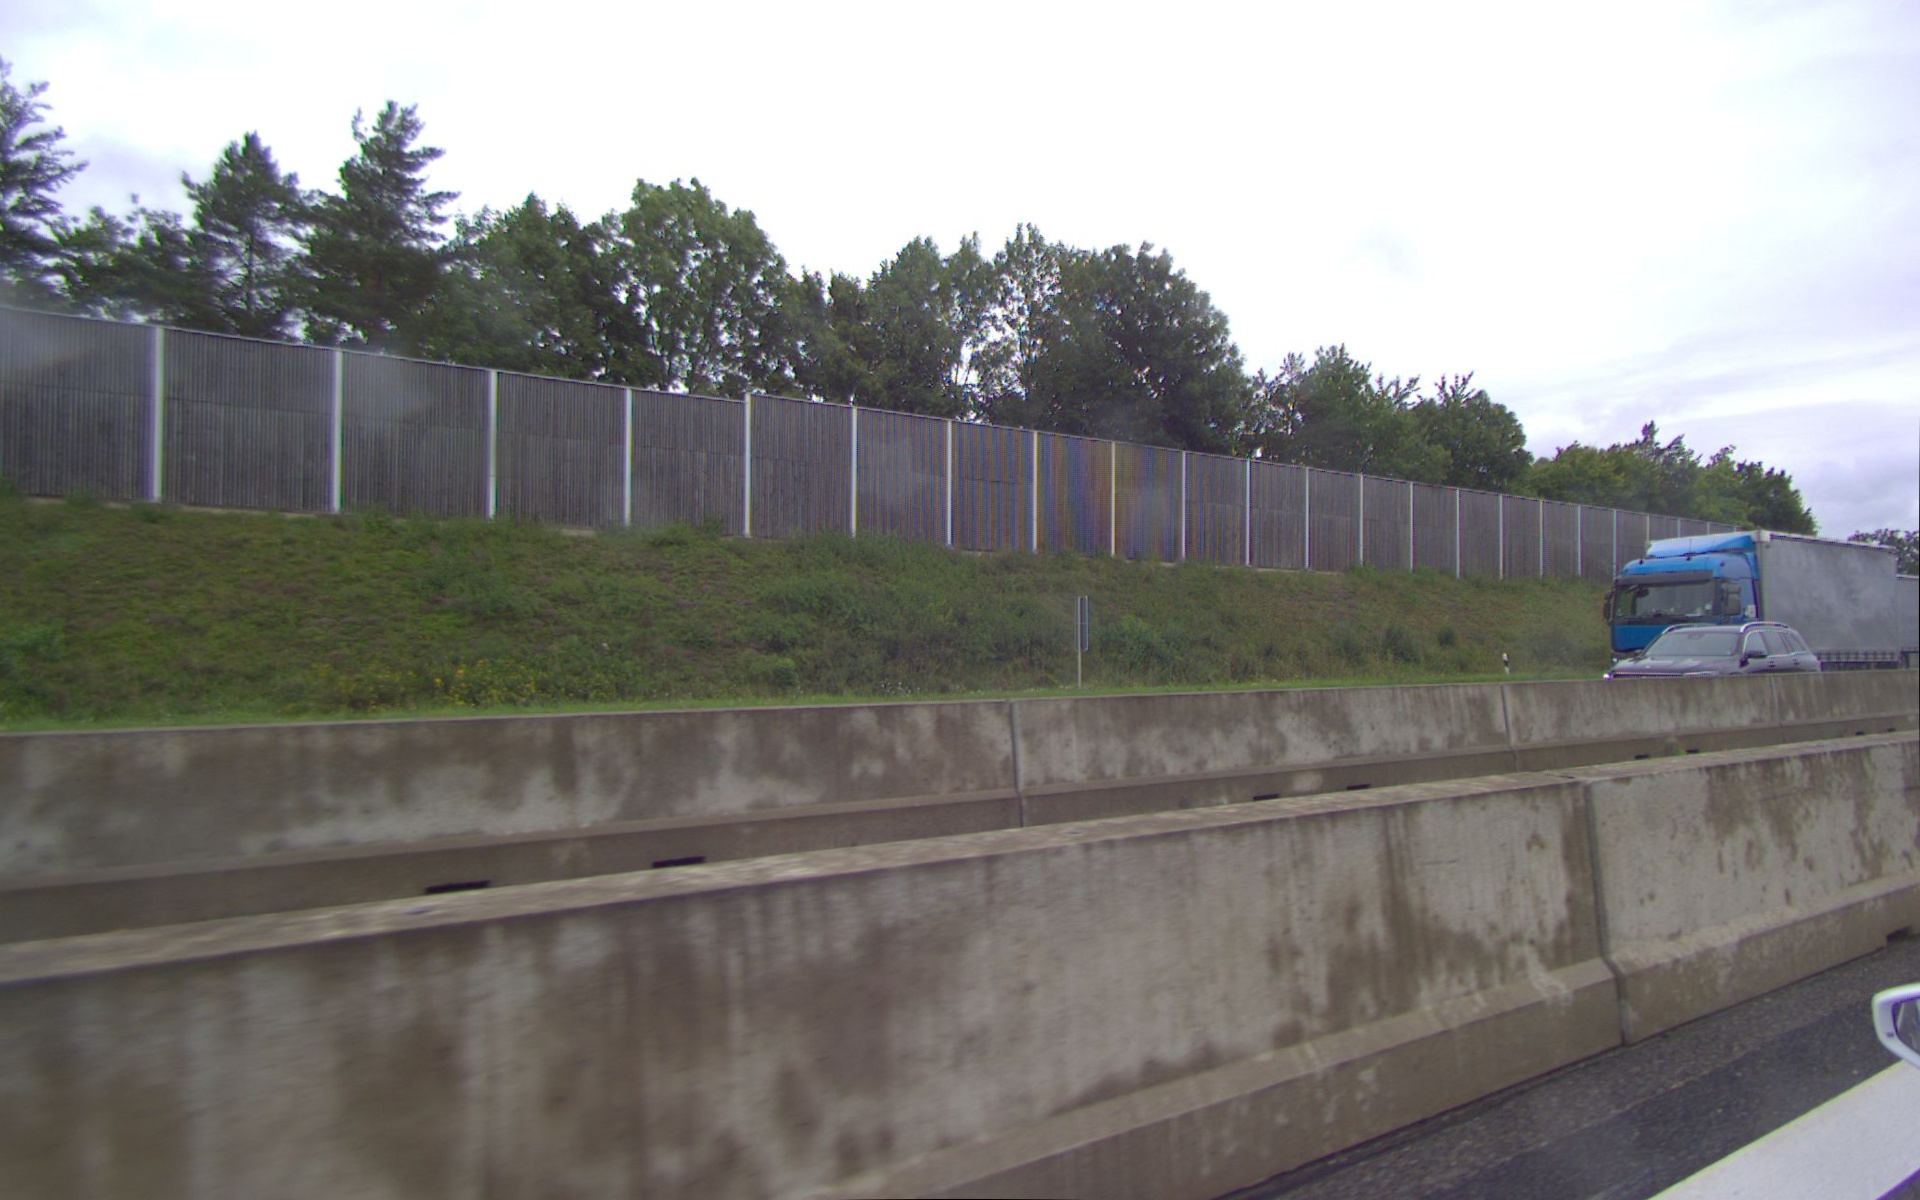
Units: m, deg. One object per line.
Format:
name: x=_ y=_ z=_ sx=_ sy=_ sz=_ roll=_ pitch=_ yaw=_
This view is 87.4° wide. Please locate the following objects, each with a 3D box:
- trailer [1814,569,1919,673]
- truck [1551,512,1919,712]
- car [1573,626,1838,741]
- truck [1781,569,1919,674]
trailer: x=40.818 y=0.958 z=42.803 sx=12.298 sy=3.987 sz=2.890 roll=1 pitch=-2 yaw=-31
truck: x=20.776 y=0.420 z=26.446 sx=12.529 sy=4.382 sz=3.136 roll=2 pitch=0 yaw=-30
car: x=13.120 y=1.354 z=17.609 sx=4.943 sy=1.759 sz=1.984 roll=1 pitch=-1 yaw=-30
truck: x=35.467 y=0.865 z=39.649 sx=5.820 sy=3.846 sz=2.875 roll=1 pitch=-1 yaw=-30
